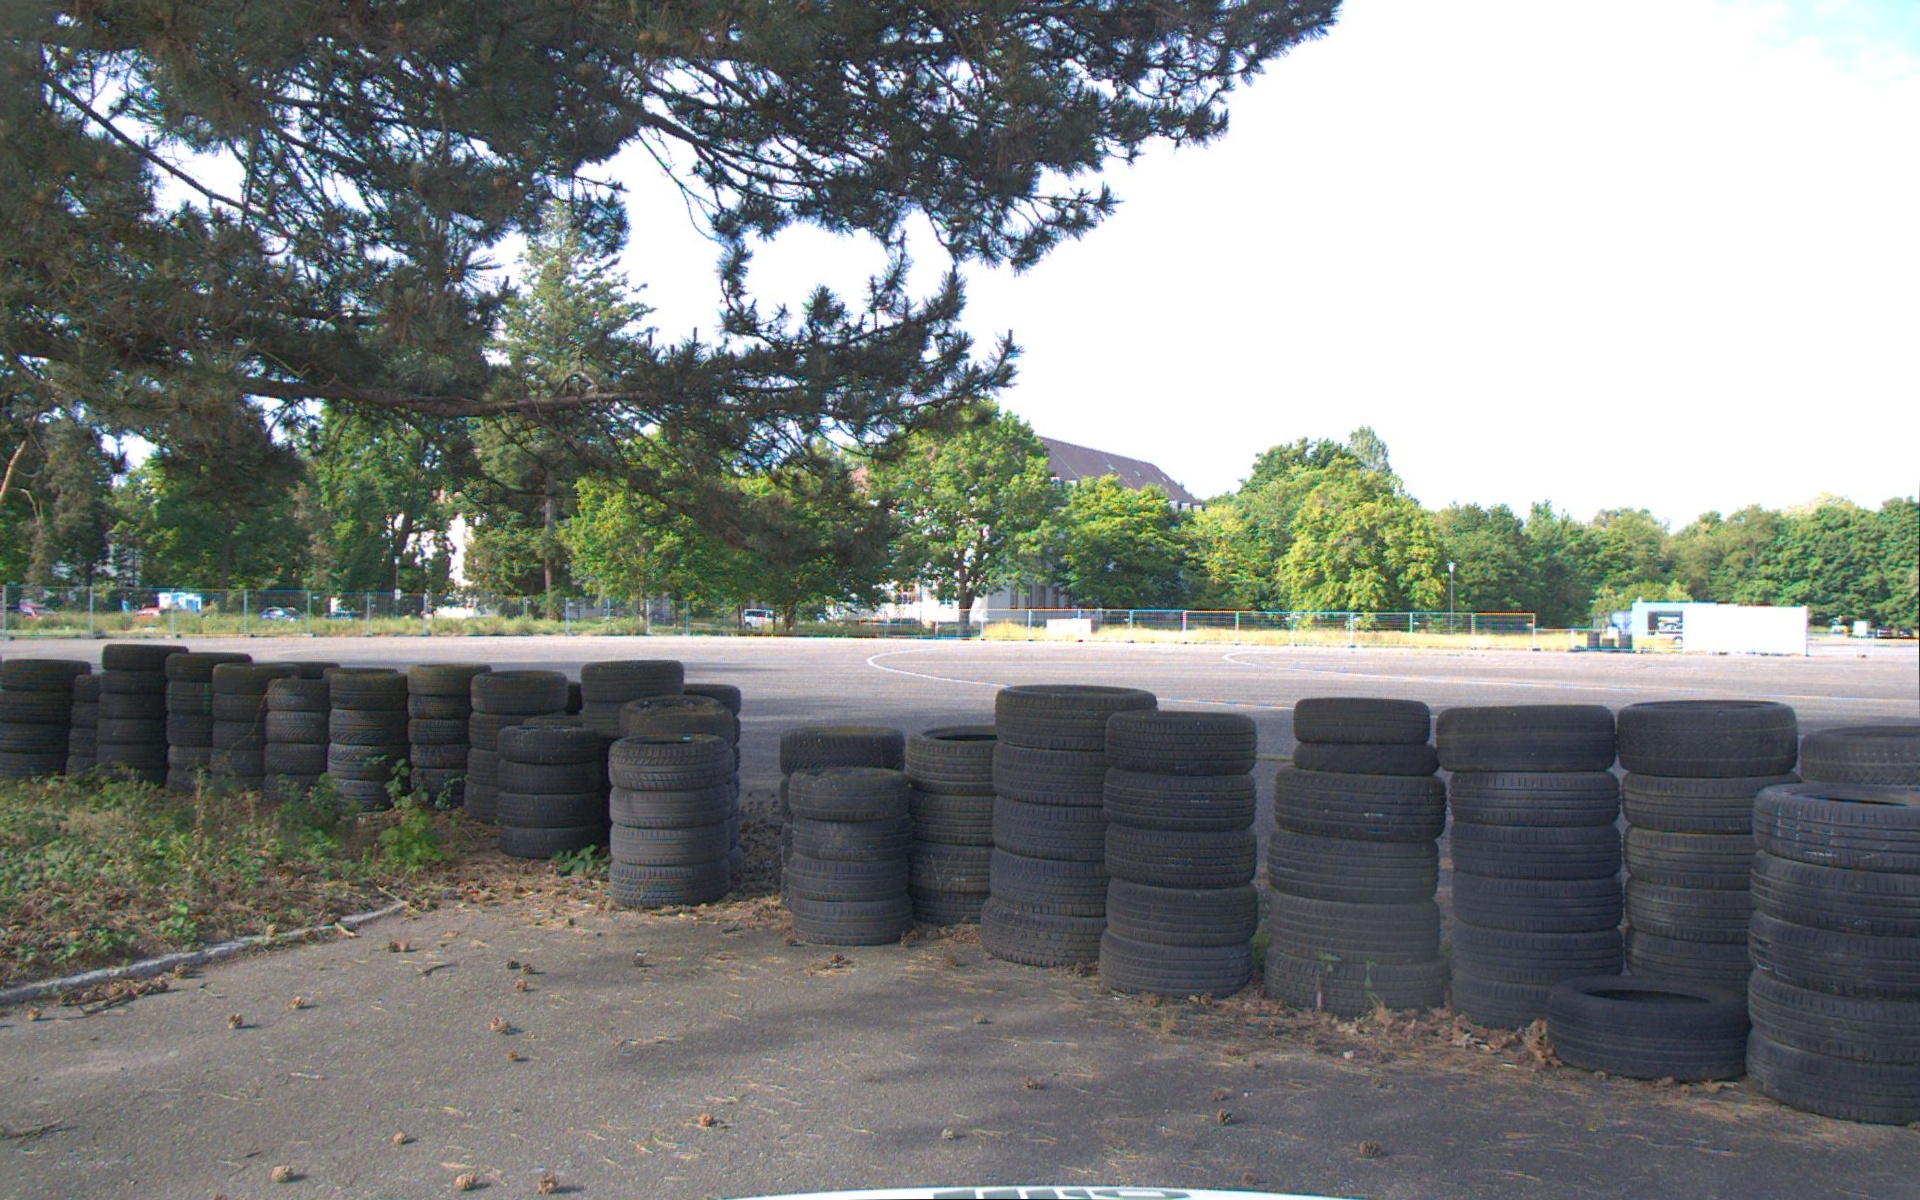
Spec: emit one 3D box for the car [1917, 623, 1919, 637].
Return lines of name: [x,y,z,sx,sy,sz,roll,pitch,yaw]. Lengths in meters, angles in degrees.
car: [123.890,3.904,211.878,1.954,1.780,3.997,0,-1,25]

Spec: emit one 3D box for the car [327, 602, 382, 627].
car: [-43.575,1.043,118.958,3.923,1.780,1.991,0,-1,38]

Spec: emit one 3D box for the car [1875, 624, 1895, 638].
car: [119.631,4.009,213.908,1.954,1.780,3.997,0,-1,25]

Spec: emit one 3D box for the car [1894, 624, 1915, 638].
car: [121.685,3.990,213.037,1.991,1.840,3.997,0,-1,25]
